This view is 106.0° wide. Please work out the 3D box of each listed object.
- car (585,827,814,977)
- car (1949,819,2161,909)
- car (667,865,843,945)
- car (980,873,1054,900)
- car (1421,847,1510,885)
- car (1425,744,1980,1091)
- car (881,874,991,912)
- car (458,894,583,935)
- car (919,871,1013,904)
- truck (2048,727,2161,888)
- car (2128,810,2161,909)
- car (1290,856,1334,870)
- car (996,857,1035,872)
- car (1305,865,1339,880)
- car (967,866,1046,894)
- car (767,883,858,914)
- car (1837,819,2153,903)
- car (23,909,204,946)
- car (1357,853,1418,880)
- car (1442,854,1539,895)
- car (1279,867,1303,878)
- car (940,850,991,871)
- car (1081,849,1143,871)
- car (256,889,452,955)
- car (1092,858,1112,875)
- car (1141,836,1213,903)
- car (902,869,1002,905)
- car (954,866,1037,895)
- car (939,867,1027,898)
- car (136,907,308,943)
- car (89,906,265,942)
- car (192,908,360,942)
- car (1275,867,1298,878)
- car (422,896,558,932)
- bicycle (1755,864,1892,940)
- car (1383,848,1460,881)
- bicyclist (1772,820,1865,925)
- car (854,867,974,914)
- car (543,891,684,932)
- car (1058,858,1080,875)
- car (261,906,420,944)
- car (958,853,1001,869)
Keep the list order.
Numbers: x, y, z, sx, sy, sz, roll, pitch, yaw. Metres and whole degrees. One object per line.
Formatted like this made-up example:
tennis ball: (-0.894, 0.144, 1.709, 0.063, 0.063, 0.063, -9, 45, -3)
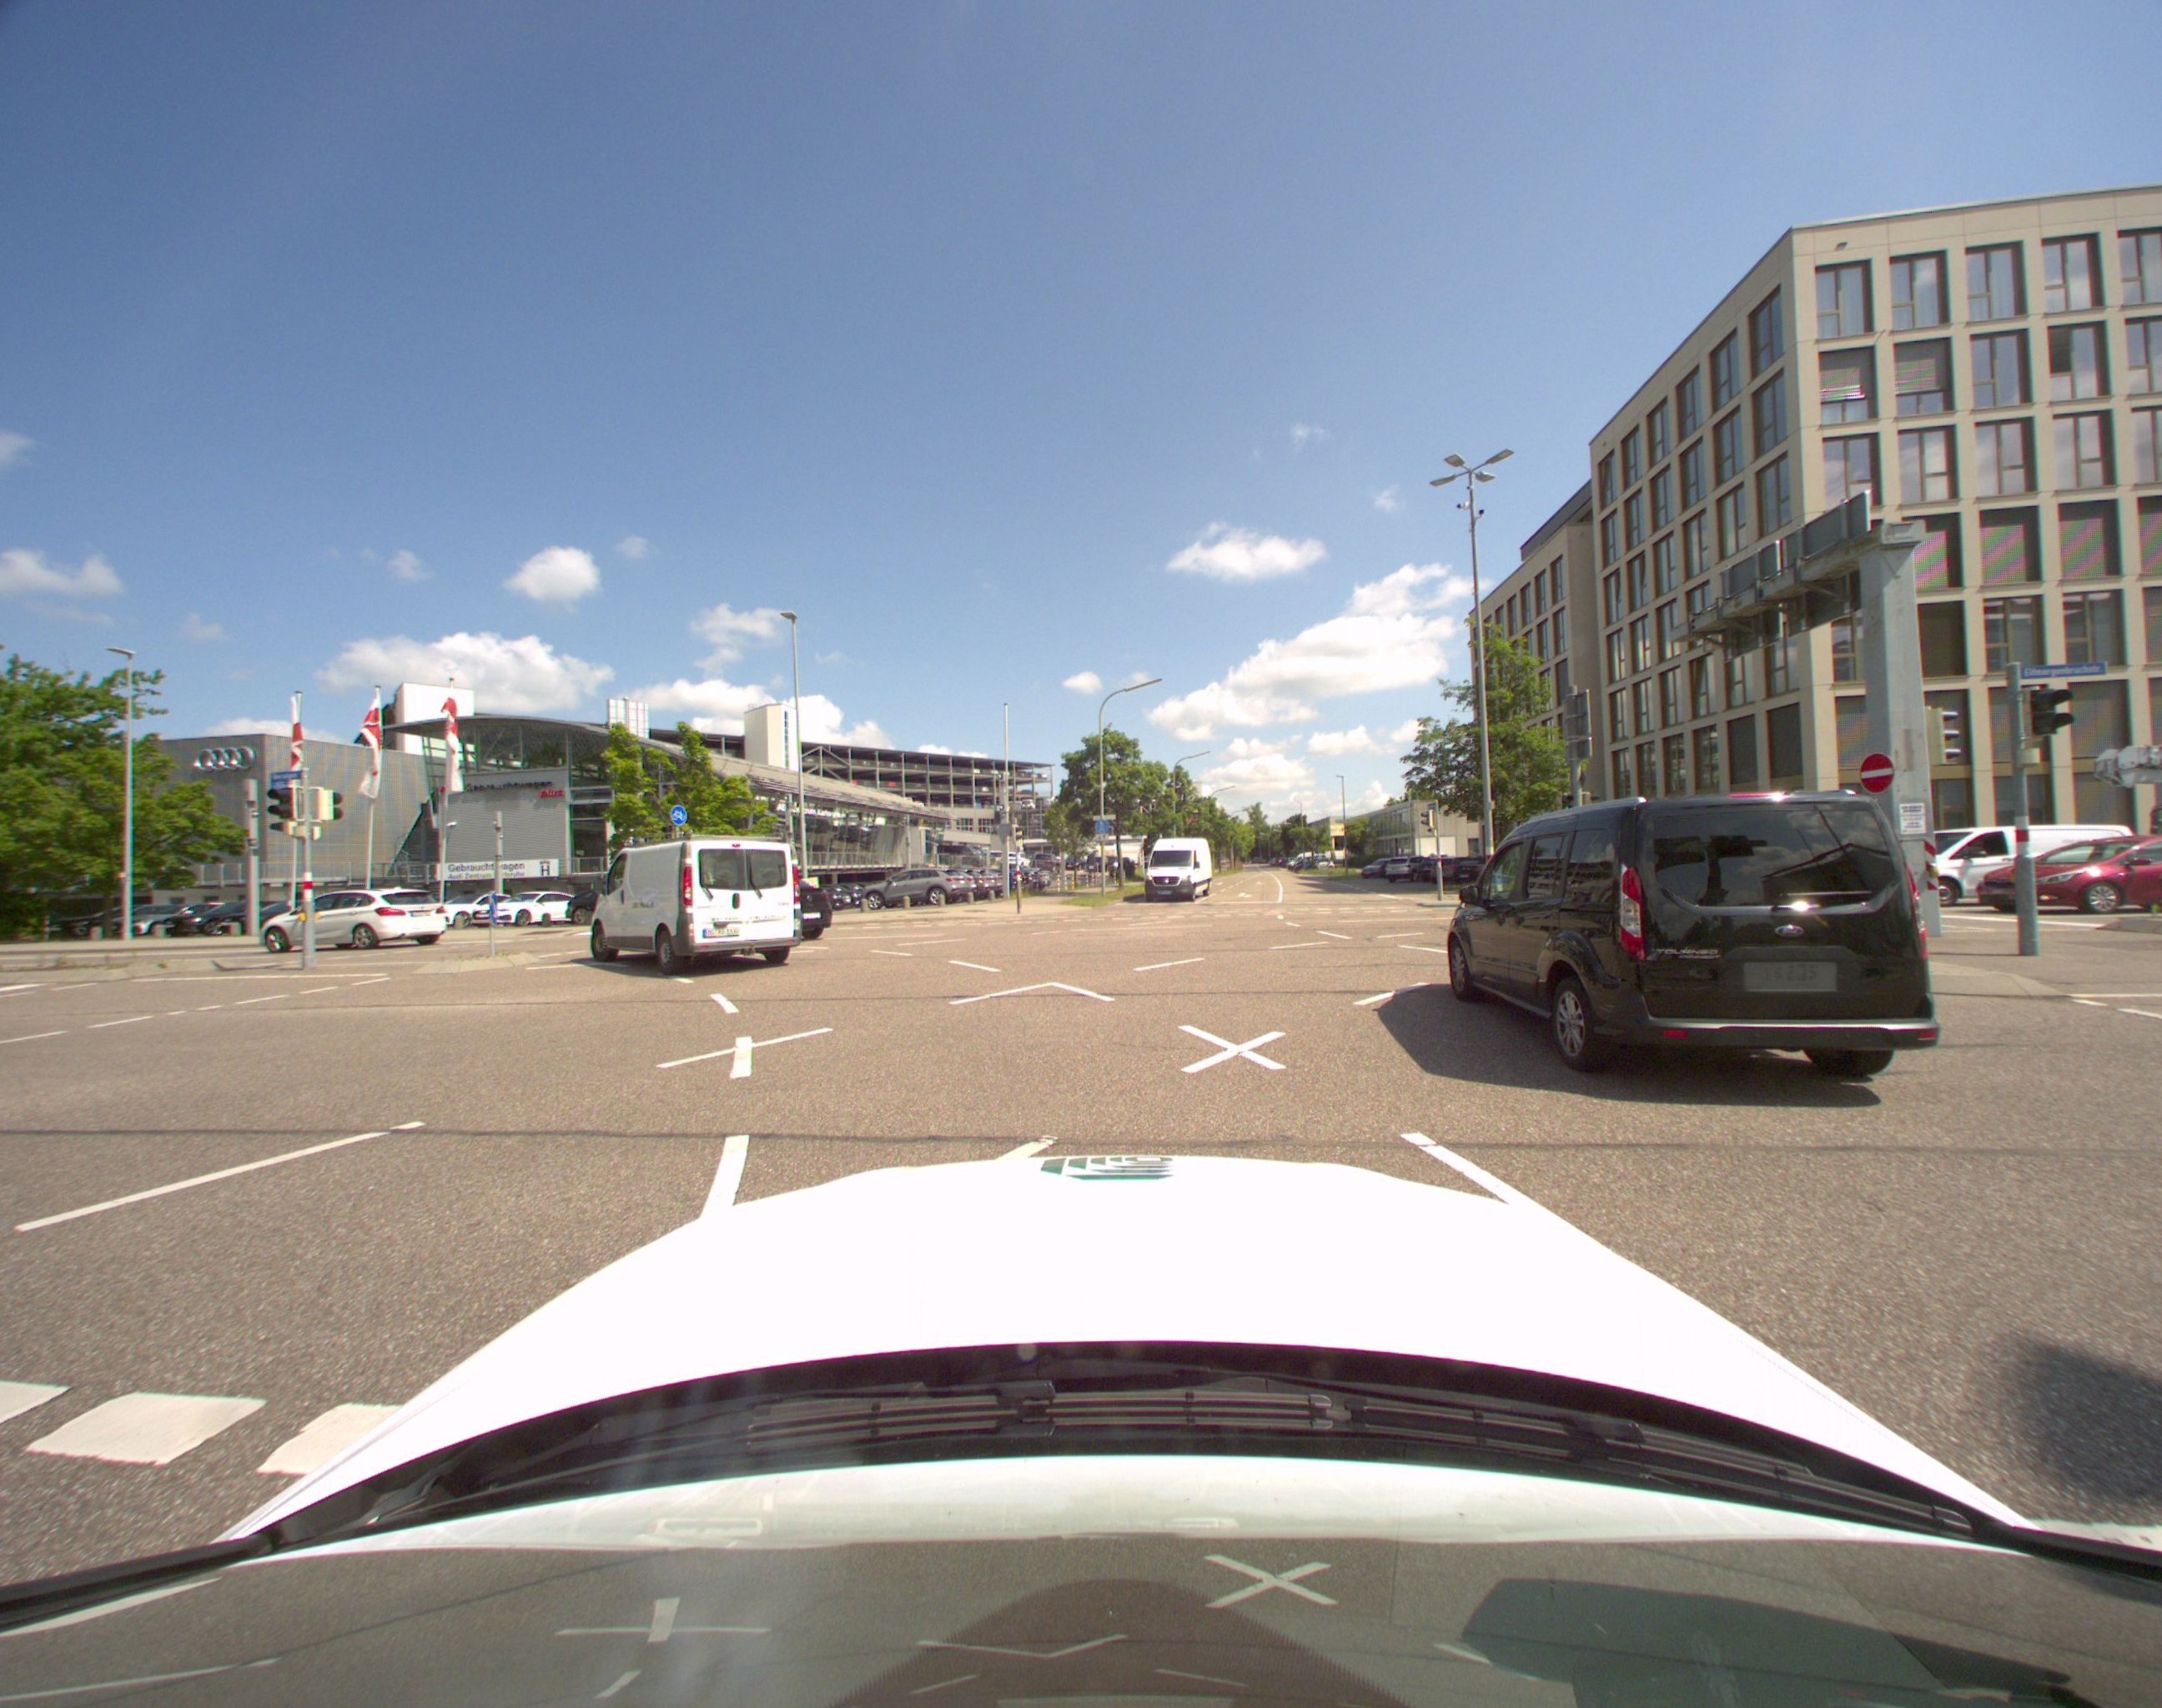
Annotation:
car: (-6.455, 0.739, 13.515, 4.507, 2.060, 1.991, -3, -2, 44)
car: (20.042, 0.201, 15.820, 4.178, 1.627, 1.830, -1, -2, 5)
car: (-7.444, 1.122, 18.486, 3.948, 1.629, 1.791, -2, -2, 34)
car: (-4.195, 2.143, 53.837, 4.547, 1.678, 1.912, -1, -2, 9)
car: (21.257, 0.662, 45.122, 3.968, 2.014, 2.002, -1, -2, 4)
car: (4.298, 0.413, 6.581, 1.813, 1.905, 4.009, -1, -2, 9)
car: (-6.628, 1.792, 37.421, 4.547, 1.678, 1.912, -1, -2, 9)
car: (-22.016, 2.403, 32.185, 1.780, 1.464, 4.008, -3, -5, 8)
car: (-6.047, 1.753, 43.099, 4.547, 1.678, 1.912, -1, -2, 9)
truck: (28.881, -1.051, 18.536, 9.703, 3.556, 2.679, -1, -2, 5)
car: (19.936, 0.051, 12.839, 4.178, 1.627, 1.830, -1, -2, 5)
car: (35.803, 1.359, 126.200, 6.301, 2.014, 2.580, -1, -2, 10)
car: (-7.000, 1.104, 87.545, 3.973, 1.552, 1.765, -1, -2, 0)
car: (30.037, 2.294, 101.597, 3.962, 1.750, 2.006, -1, -2, 10)
car: (-4.619, 1.659, 51.010, 4.547, 1.678, 1.912, -1, -2, 9)
car: (-15.461, 2.538, 46.997, 4.515, 1.741, 2.003, -1, -2, 6)
car: (21.572, 0.206, 19.431, 4.952, 1.838, 2.003, -1, -2, 5)
car: (-41.129, 3.089, 34.830, 1.890, 1.405, 4.599, -1, -3, 8)
car: (23.580, 1.003, 62.710, 3.968, 2.014, 2.002, -1, -2, 4)
car: (20.837, 1.057, 41.565, 3.968, 2.014, 2.002, -1, -2, 4)
car: (38.879, 3.411, 150.682, 3.968, 2.014, 2.002, -1, -2, 4)
car: (-10.712, 0.636, 75.635, 4.417, 1.801, 1.768, -1, -2, 7)
car: (3.237, 0.635, 85.304, 6.352, 2.102, 1.768, -1, -2, 7)
car: (-19.250, 1.772, 21.628, 3.961, 1.618, 1.782, -1, -2, 11)
car: (2.040, 1.201, 77.918, 1.552, 1.552, 3.609, -1, -2, 8)
car: (4.308, 0.735, 35.435, 2.117, 2.607, 6.890, -1, -2, 15)
car: (-6.392, 1.640, 40.596, 4.547, 1.678, 1.912, -1, -2, 9)
car: (-5.073, 1.570, 48.452, 4.547, 1.678, 1.912, -1, -2, 9)
car: (-5.477, 1.625, 45.739, 4.547, 1.678, 1.912, -1, -2, 9)
car: (-35.390, 2.894, 33.770, 1.890, 1.384, 4.599, -1, -4, 8)
car: (-38.075, 2.954, 34.513, 1.890, 1.405, 4.598, -1, -5, 8)
car: (-32.900, 2.924, 33.499, 1.890, 1.298, 4.598, -1, -5, 8)
car: (38.954, 3.542, 154.572, 3.968, 2.014, 2.002, -1, -2, 4)
car: (-24.477, 2.447, 33.988, 1.890, 1.297, 4.599, -1, -2, 8)
bicycle: (10.808, 0.678, 11.954, 0.642, 1.012, 1.986, -1, -2, 16)
car: (21.274, 0.693, 51.022, 3.968, 2.014, 2.002, -1, -2, 4)
bicyclist: (10.796, 0.281, 11.953, 0.631, 1.477, 0.919, -1, -2, 16)
car: (-7.138, 1.573, 34.952, 4.547, 1.678, 1.912, -4, -3, 9)
car: (-18.689, 2.317, 32.663, 4.715, 1.464, 1.799, -2, -5, 7)
car: (-1.143, 1.266, 79.062, 1.552, 1.552, 3.609, -1, -2, 8)
car: (-30.029, 2.844, 33.244, 1.890, 1.297, 4.599, -1, -2, 8)
car: (-10.075, 0.681, 80.743, 3.973, 1.552, 1.765, -1, -2, 0)
